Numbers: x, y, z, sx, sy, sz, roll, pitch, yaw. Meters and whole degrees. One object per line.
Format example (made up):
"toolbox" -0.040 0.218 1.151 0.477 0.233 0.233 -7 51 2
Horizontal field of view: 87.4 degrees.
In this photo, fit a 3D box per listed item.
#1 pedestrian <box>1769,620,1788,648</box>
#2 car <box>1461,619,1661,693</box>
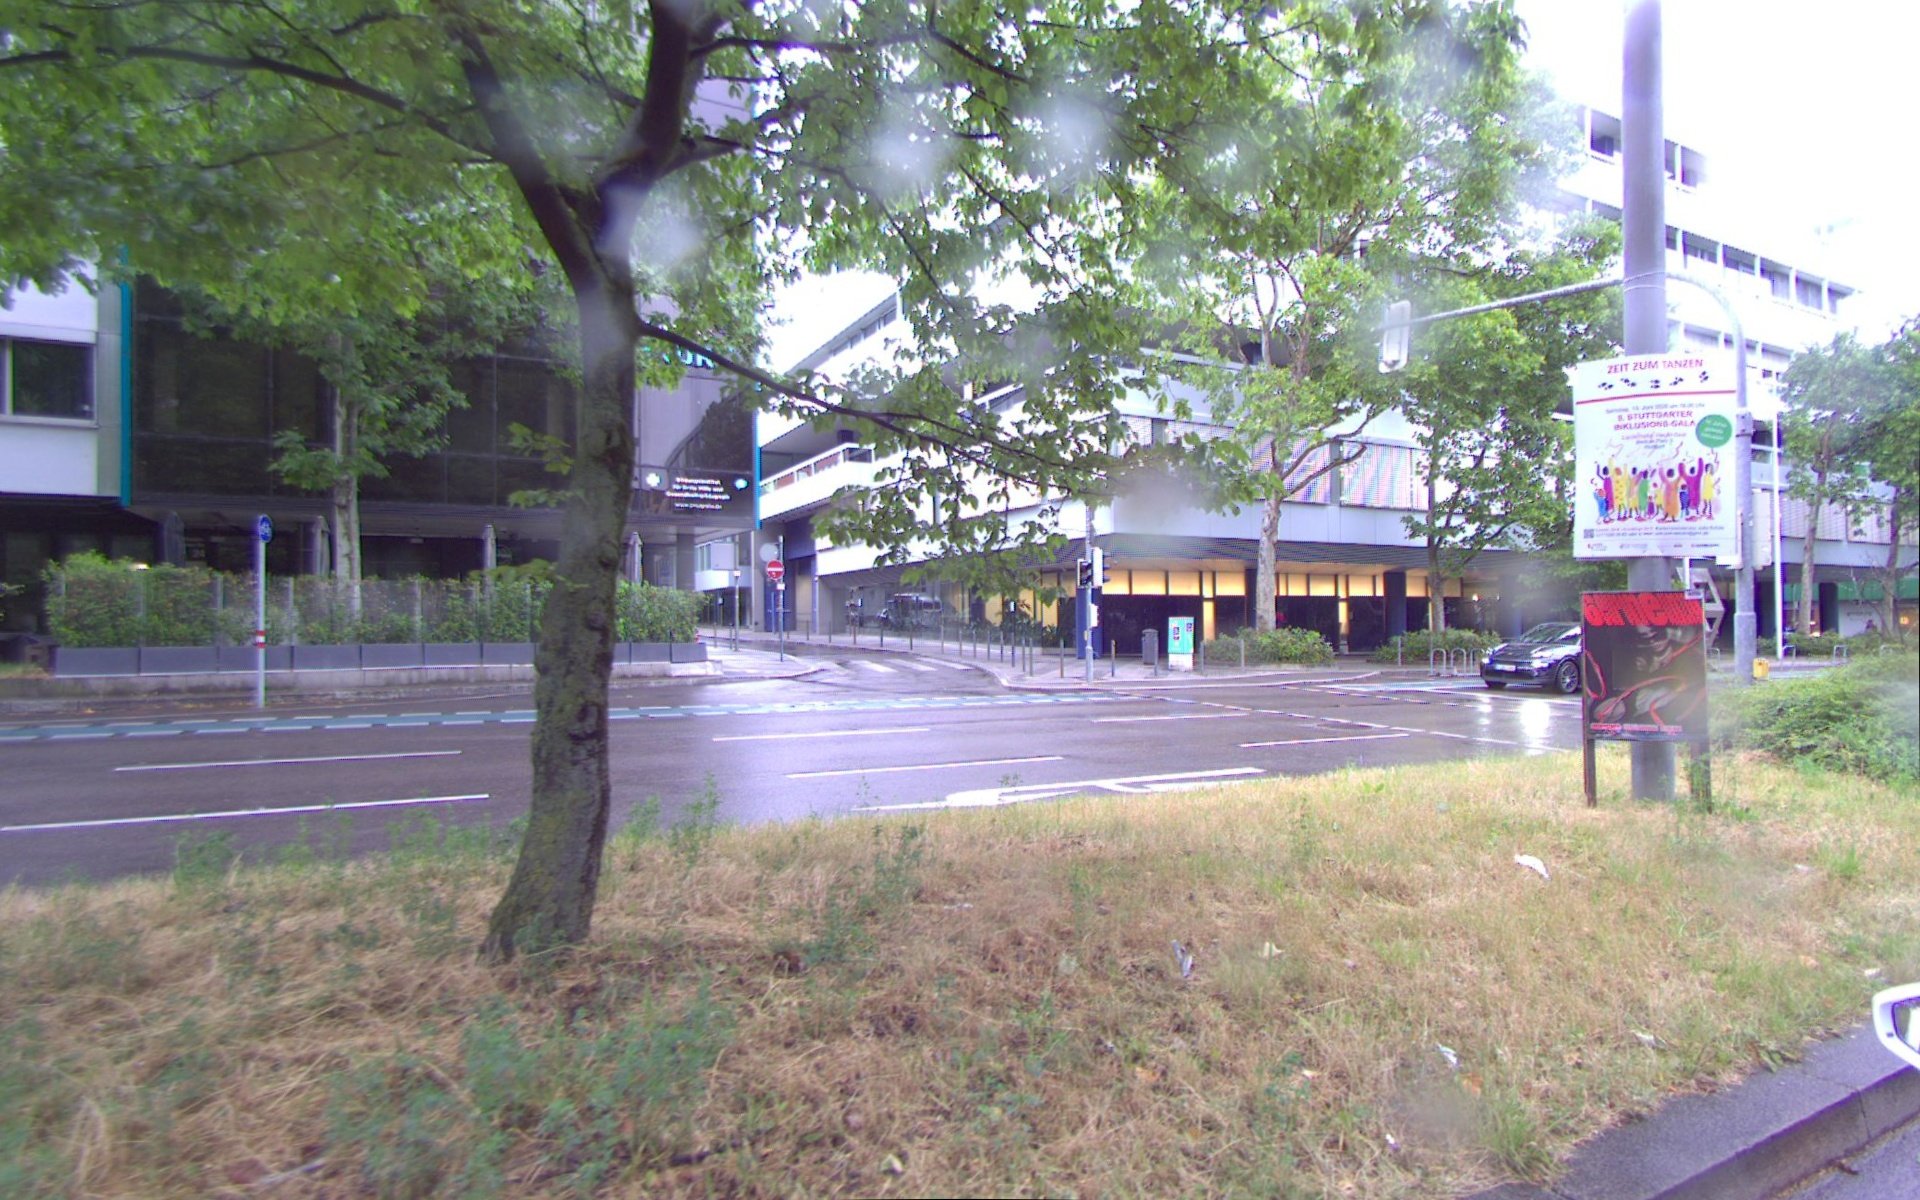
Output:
"pedestrian" 42.109 1.743 51.664 0.470 1.398 0.632 2 0 -40
"car" 14.585 1.332 24.350 4.683 1.605 1.903 2 0 -26
